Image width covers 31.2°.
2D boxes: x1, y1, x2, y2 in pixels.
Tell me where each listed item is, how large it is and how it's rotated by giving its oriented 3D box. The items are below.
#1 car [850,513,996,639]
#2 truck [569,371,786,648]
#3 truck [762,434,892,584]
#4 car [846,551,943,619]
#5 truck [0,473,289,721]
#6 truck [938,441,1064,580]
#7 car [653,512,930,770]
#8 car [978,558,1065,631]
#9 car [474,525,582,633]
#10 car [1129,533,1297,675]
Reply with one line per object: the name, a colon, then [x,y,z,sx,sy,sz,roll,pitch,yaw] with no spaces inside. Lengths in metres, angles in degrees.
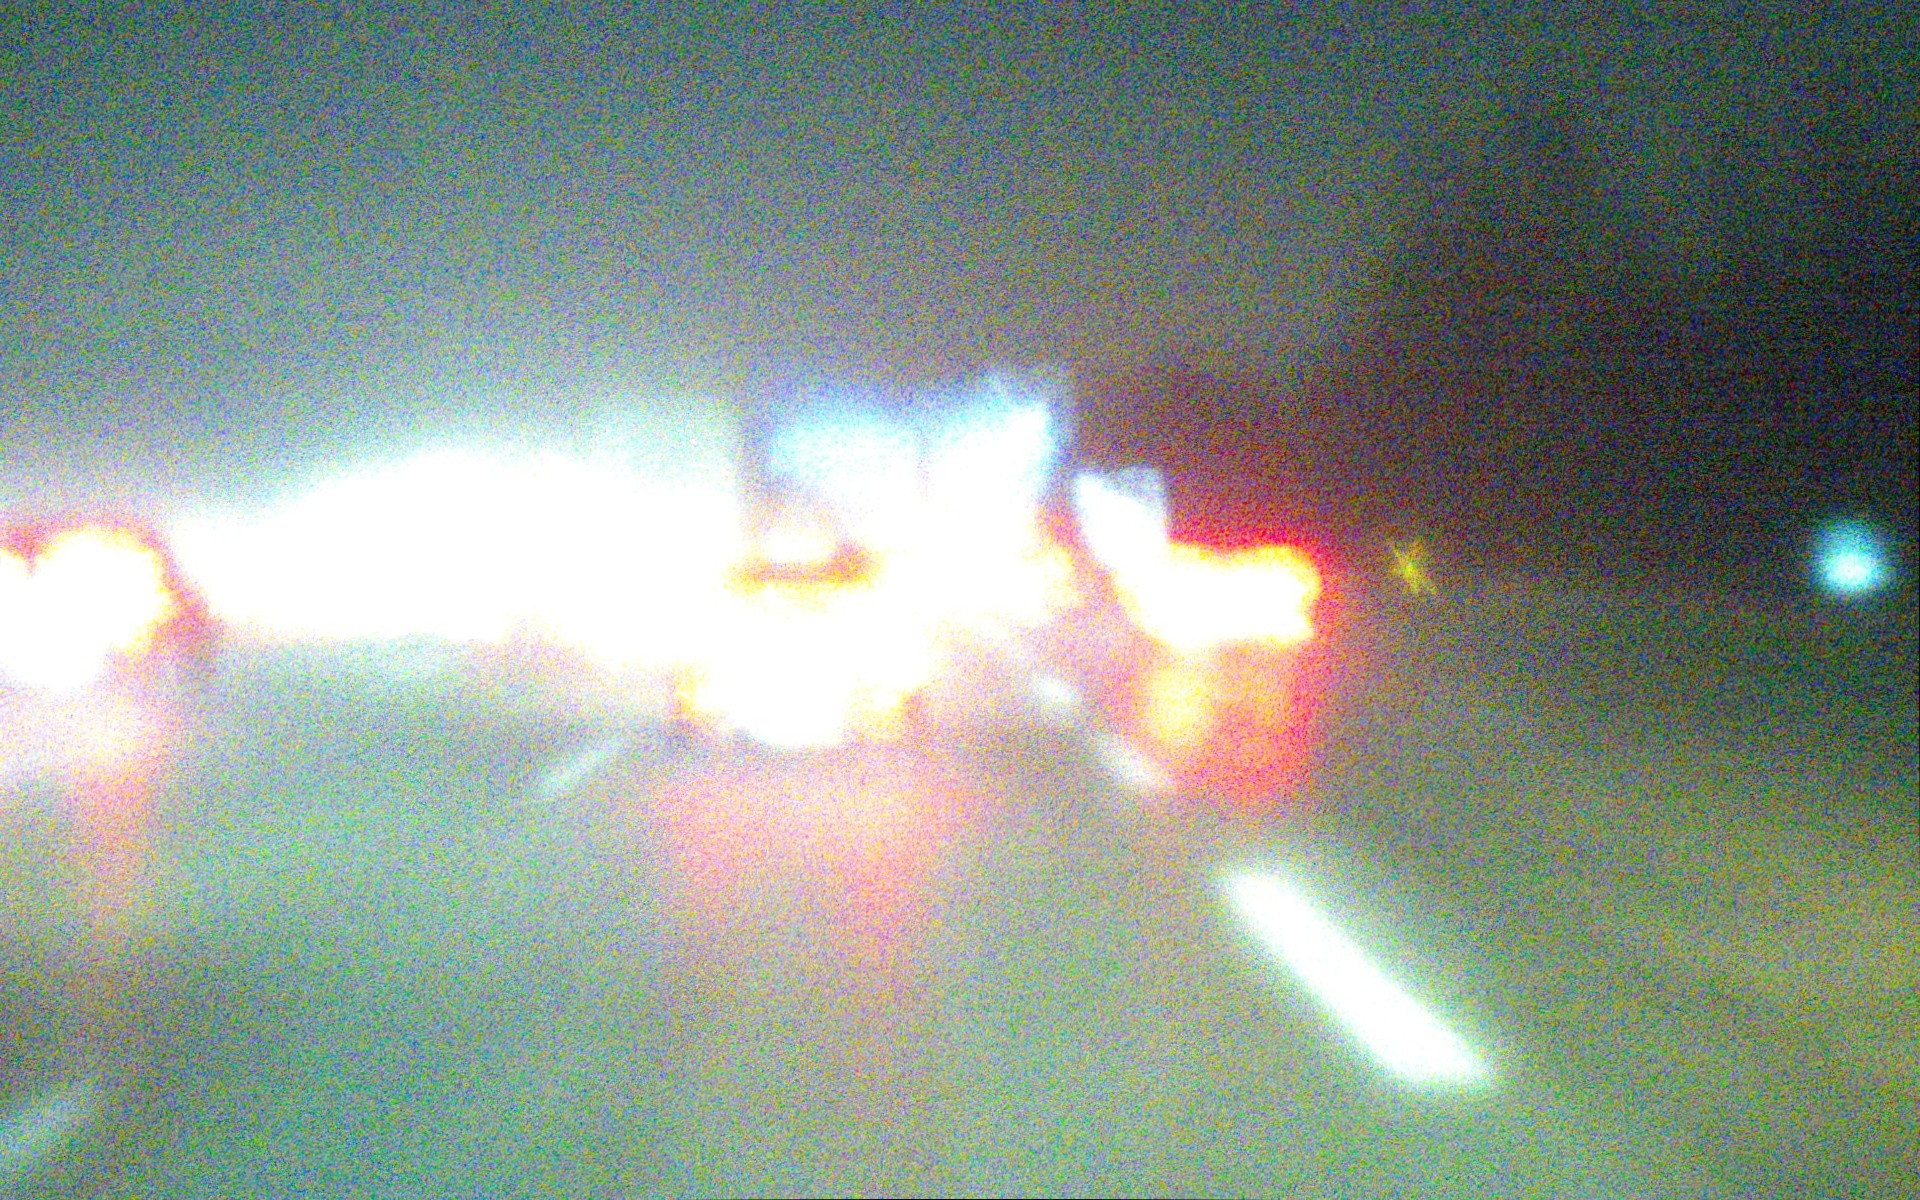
car: [-0.555,-0.356,51.176,2.039,1.755,4.516,1,0,-1]
truck: [-5.268,-1.599,64.202,3.655,4.721,9.854,1,0,-5]
truck: [-4.971,-3.352,130.782,4.254,5.425,10.884,1,0,1]
car: [-1.969,-0.465,105.507,2.833,2.007,5.510,1,0,0]
truck: [-8.447,-0.060,33.736,2.857,2.193,5.859,1,0,-3]
truck: [1.521,-3.425,134.781,4.161,5.197,9.955,1,0,-3]
car: [-1.128,0.227,24.616,1.765,1.683,4.000,0,1,0]
car: [1.465,-0.154,83.780,1.993,1.698,4.458,1,0,0]
car: [-9.573,-0.472,76.362,2.263,2.265,5.387,1,0,-7]
car: [3.267,0.034,45.048,1.878,1.756,4.000,1,0,0]
